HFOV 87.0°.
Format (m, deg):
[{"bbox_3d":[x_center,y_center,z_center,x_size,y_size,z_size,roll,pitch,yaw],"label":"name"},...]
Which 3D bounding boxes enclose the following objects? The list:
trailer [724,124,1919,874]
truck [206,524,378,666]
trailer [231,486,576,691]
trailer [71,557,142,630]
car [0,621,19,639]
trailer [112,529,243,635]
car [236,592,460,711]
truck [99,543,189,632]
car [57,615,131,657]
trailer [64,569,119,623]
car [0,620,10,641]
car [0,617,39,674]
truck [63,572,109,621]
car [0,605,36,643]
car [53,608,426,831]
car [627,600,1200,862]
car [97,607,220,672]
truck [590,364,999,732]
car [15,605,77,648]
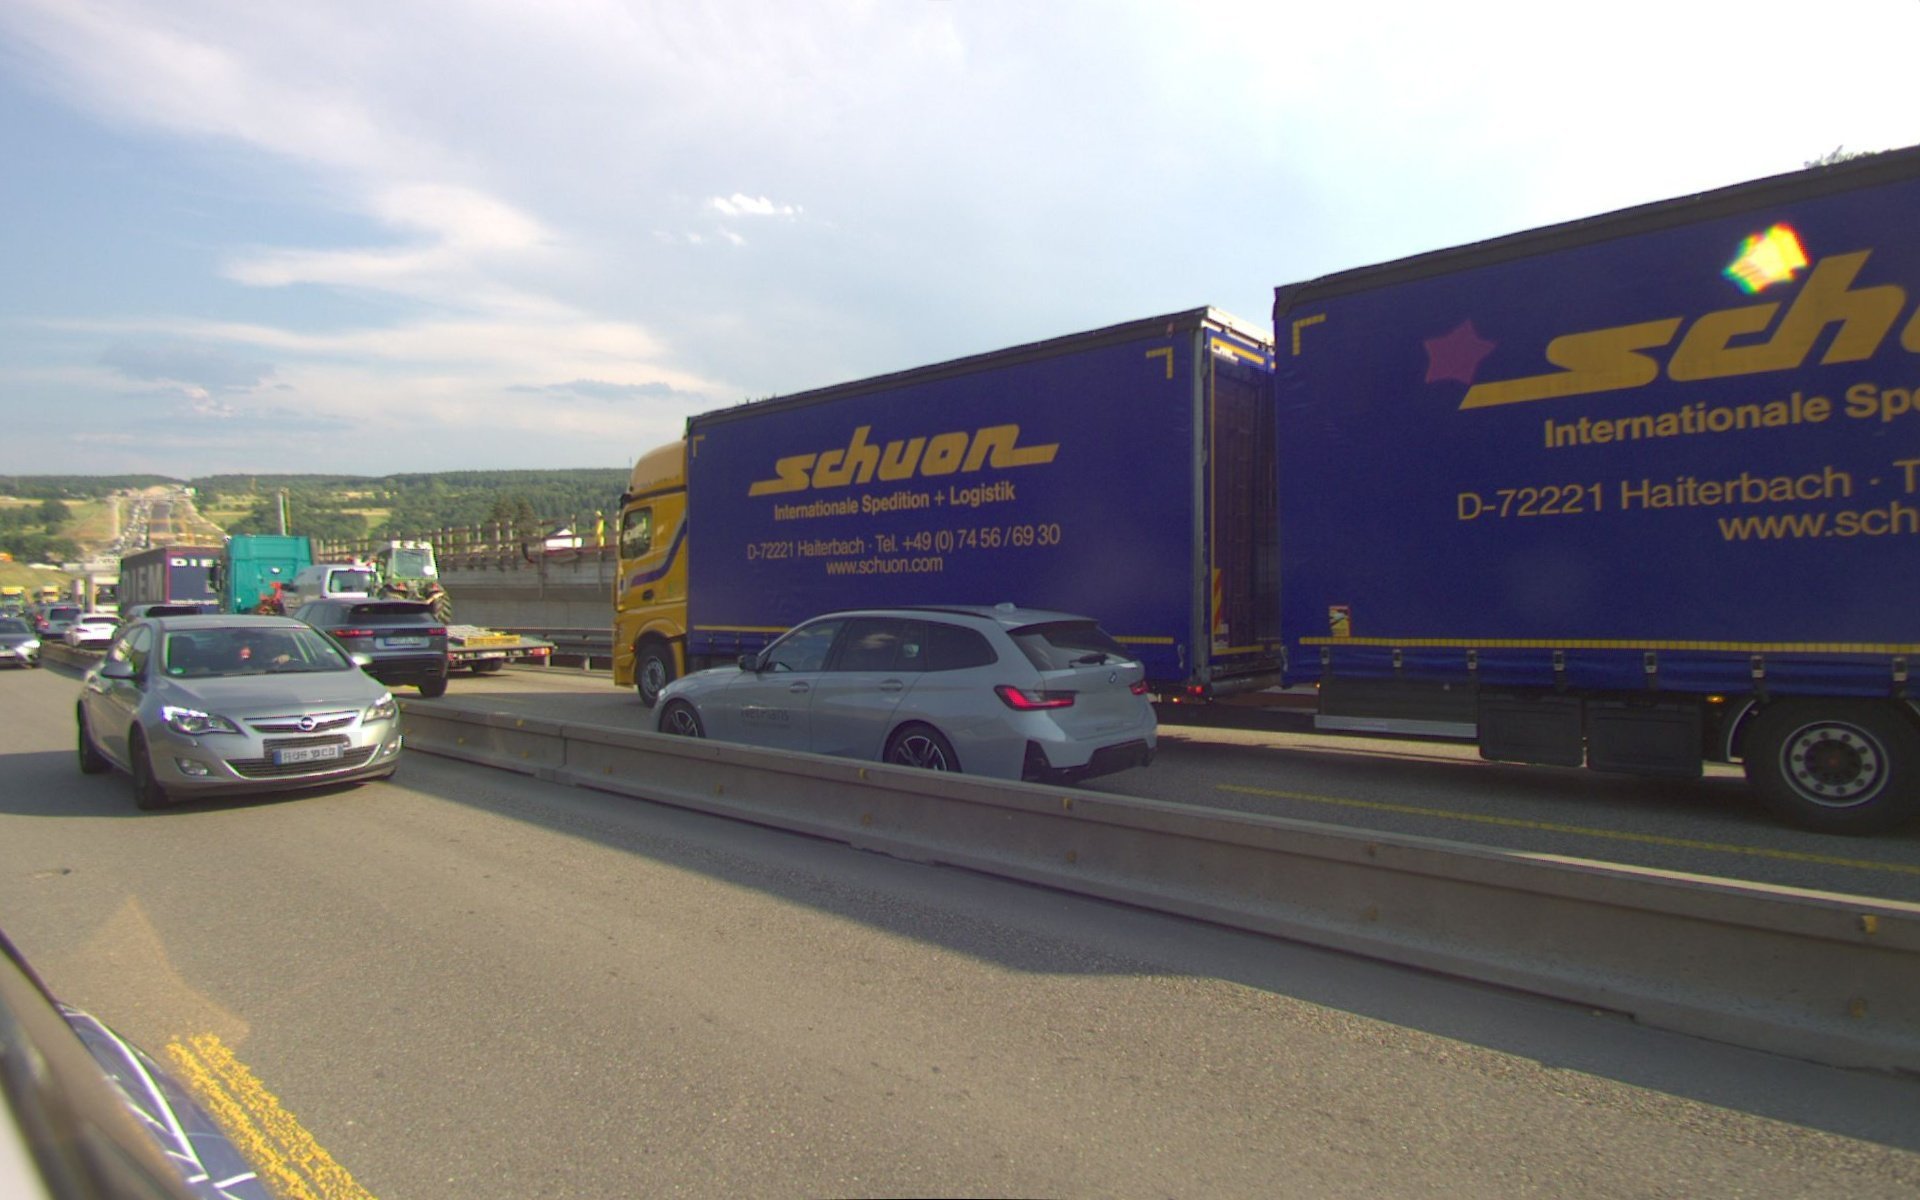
[{"bbox_3d":[4.110,-0.564,8.488,16.746,4.166,2.686,0,0,42],"label":"trailer"},{"bbox_3d":[-20.467,-0.082,30.816,7.111,3.834,2.719,-1,-2,43],"label":"truck"},{"bbox_3d":[-14.772,-0.139,25.486,16.047,3.845,2.719,-1,-2,43],"label":"trailer"},{"bbox_3d":[-55.258,-0.405,65.466,2.878,4.499,7.156,-1,0,-45],"label":"trailer"},{"bbox_3d":[-87.454,2.714,92.638,1.754,1.467,4.818,-2,2,-44],"label":"car"},{"bbox_3d":[-34.783,-0.627,44.694,12.494,4.154,2.685,-1,-2,44],"label":"trailer"},{"bbox_3d":[-10.323,0.745,16.913,4.690,1.714,1.906,0,0,42],"label":"car"},{"bbox_3d":[-40.479,-0.539,50.168,5.031,4.146,2.719,-1,-2,43],"label":"truck"},{"bbox_3d":[-34.418,1.393,40.172,4.818,1.533,1.783,0,-2,44],"label":"car"},{"bbox_3d":[-73.162,-0.307,85.127,2.743,4.235,13.845,1,0,-44],"label":"trailer"},{"bbox_3d":[-80.019,2.568,83.894,1.746,1.562,4.483,-1,2,-44],"label":"car"},{"bbox_3d":[-26.321,1.218,27.423,4.002,1.452,1.798,-1,1,45],"label":"car"},{"bbox_3d":[-77.574,-0.313,89.776,2.732,4.235,6.120,1,0,-44],"label":"truck"},{"bbox_3d":[-52.469,1.269,55.917,4.901,1.978,1.812,1,0,44],"label":"car"},{"bbox_3d":[-6.454,0.833,8.888,4.116,1.498,1.787,-1,-1,41],"label":"car"},{"bbox_3d":[-0.628,0.767,8.126,4.723,1.509,1.769,0,0,42],"label":"car"},{"bbox_3d":[-22.753,1.046,28.656,4.847,1.657,1.938,0,0,42],"label":"car"},{"bbox_3d":[-2.531,-0.590,14.383,5.792,4.172,2.673,0,0,41],"label":"truck"},{"bbox_3d":[-45.421,1.284,50.241,5.131,1.948,1.803,0,-3,43],"label":"car"}]
